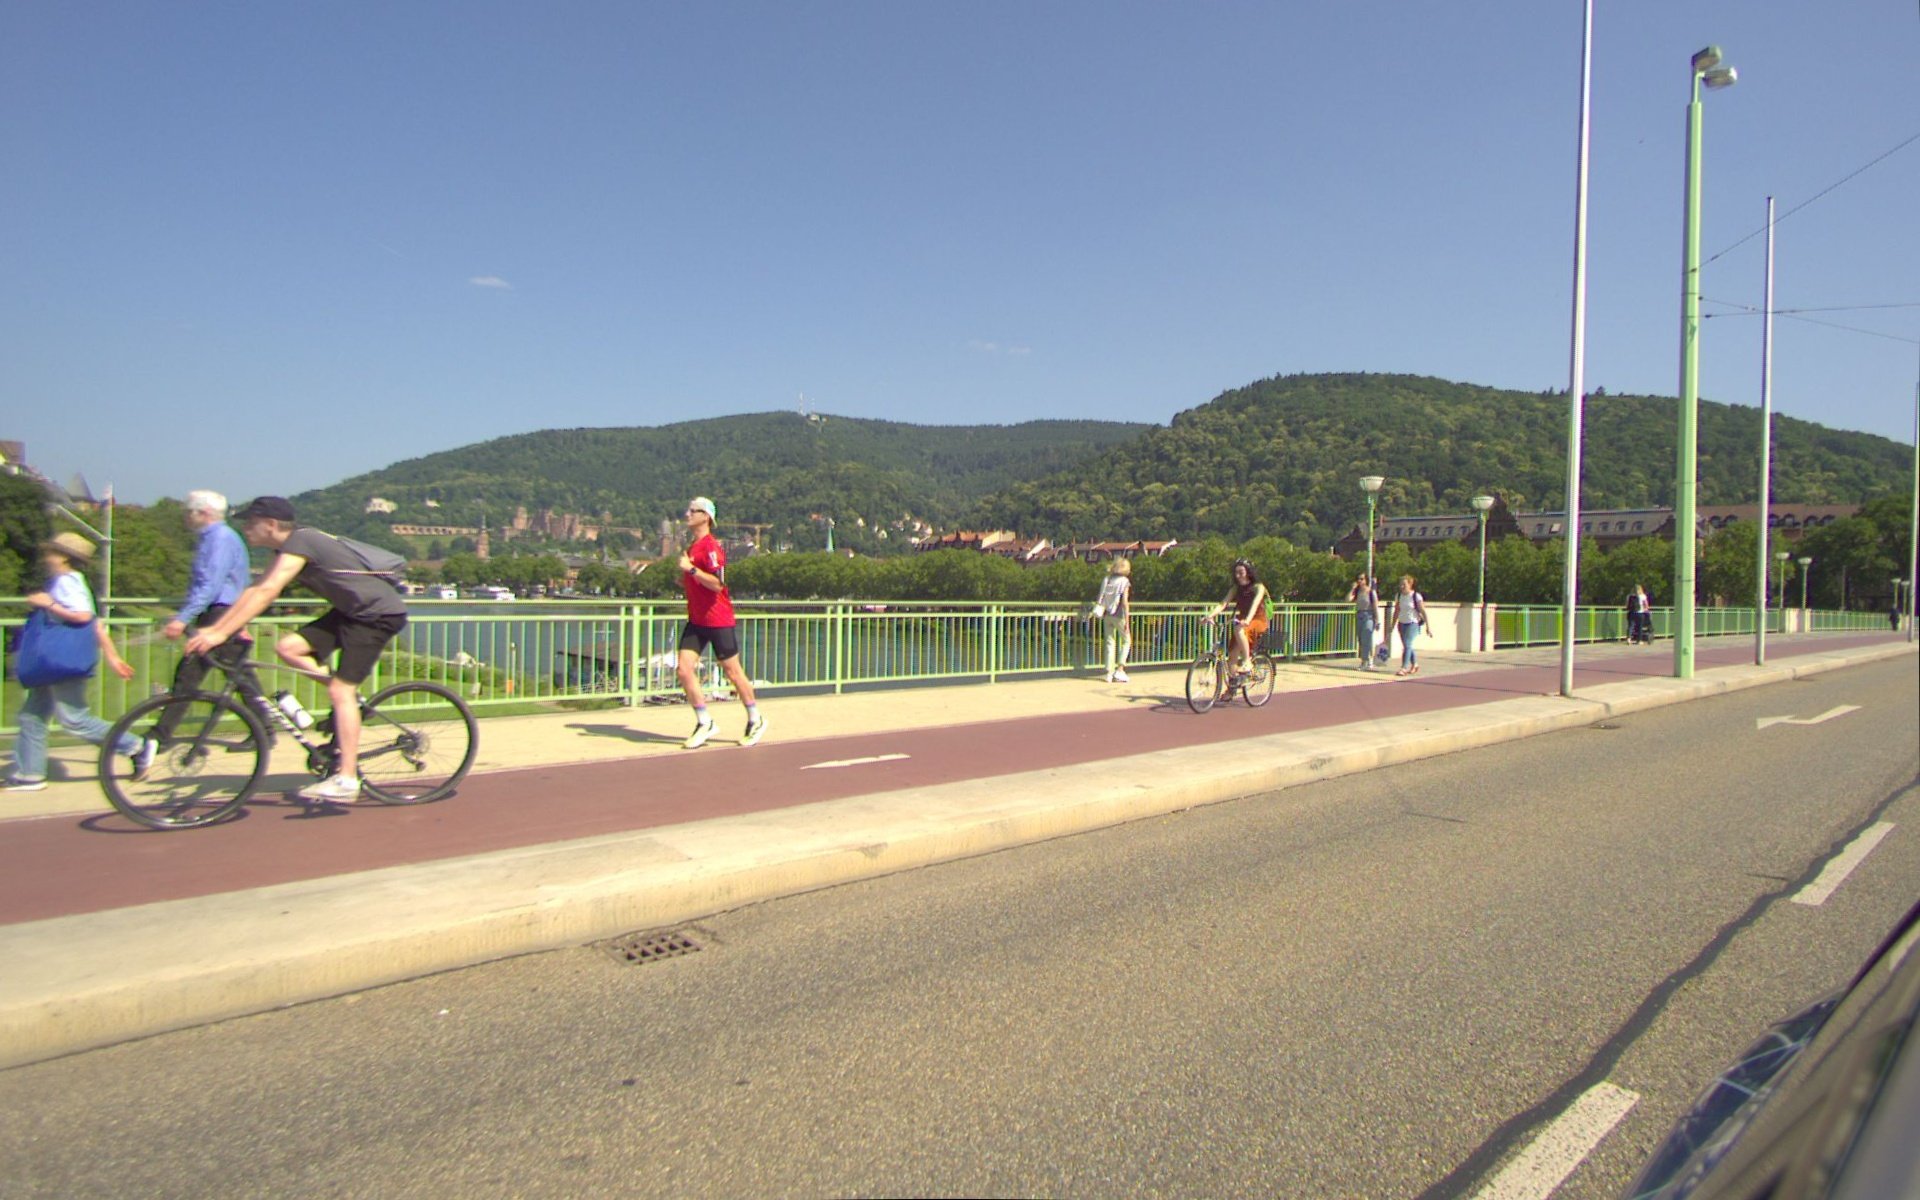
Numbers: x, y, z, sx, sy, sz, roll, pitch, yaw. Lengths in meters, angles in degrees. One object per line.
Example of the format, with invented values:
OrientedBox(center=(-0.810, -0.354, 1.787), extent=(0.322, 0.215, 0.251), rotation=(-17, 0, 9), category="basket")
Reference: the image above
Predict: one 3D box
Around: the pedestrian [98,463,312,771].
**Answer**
OrientedBox(center=(-5.252, 0.092, 7.042), extent=(1.117, 1.921, 0.927), rotation=(0, 2, -41), category="pedestrian")

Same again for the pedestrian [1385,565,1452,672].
OrientedBox(center=(7.439, 0.285, 16.433), extent=(0.810, 1.679, 0.664), rotation=(0, 2, -41), category="pedestrian")

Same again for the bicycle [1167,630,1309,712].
OrientedBox(center=(3.135, 0.756, 11.310), extent=(1.834, 0.775, 0.595), rotation=(0, 2, -41), category="bicycle")

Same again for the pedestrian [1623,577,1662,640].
OrientedBox(center=(19.157, 0.234, 28.396), extent=(0.844, 1.727, 0.664), rotation=(0, 2, -41), category="pedestrian")

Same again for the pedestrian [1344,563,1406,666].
OrientedBox(center=(6.993, 0.231, 17.055), extent=(0.733, 1.679, 0.668), rotation=(0, 2, -41), category="pedestrian")

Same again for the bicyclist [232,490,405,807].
OrientedBox(center=(-3.471, 0.230, 5.474), extent=(0.690, 1.578, 0.587), rotation=(0, 2, -43), category="bicyclist")

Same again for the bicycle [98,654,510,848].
OrientedBox(center=(-3.475, 0.740, 5.486), extent=(1.800, 0.775, 0.594), rotation=(0, 2, -43), category="bicycle")

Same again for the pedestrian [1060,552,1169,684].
OrientedBox(center=(2.094, 0.211, 13.737), extent=(1.063, 1.683, 0.949), rotation=(0, 2, -41), category="pedestrian")

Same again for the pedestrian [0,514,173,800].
OrientedBox(center=(-5.247, 0.290, 5.964), extent=(0.917, 1.548, 0.831), rotation=(0, 2, -41), category="pedestrian")

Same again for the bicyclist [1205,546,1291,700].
OrientedBox(center=(3.241, 0.237, 11.381), extent=(0.689, 1.671, 0.606), rotation=(0, 2, -40), category="bicyclist")

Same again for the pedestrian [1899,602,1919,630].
OrientedBox(center=(60.295, 1.016, 64.139), extent=(1.063, 1.683, 0.949), rotation=(0, 3, -41), category="pedestrian")

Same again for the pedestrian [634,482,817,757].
OrientedBox(center=(-1.815, 0.123, 7.849), extent=(1.108, 1.948, 0.812), rotation=(0, 2, -41), category="pedestrian")

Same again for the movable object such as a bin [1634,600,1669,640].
OrientedBox(center=(19.768, 0.559, 28.934), extent=(0.917, 1.104, 0.583), rotation=(0, 2, -41), category="movable object such as a bin")
